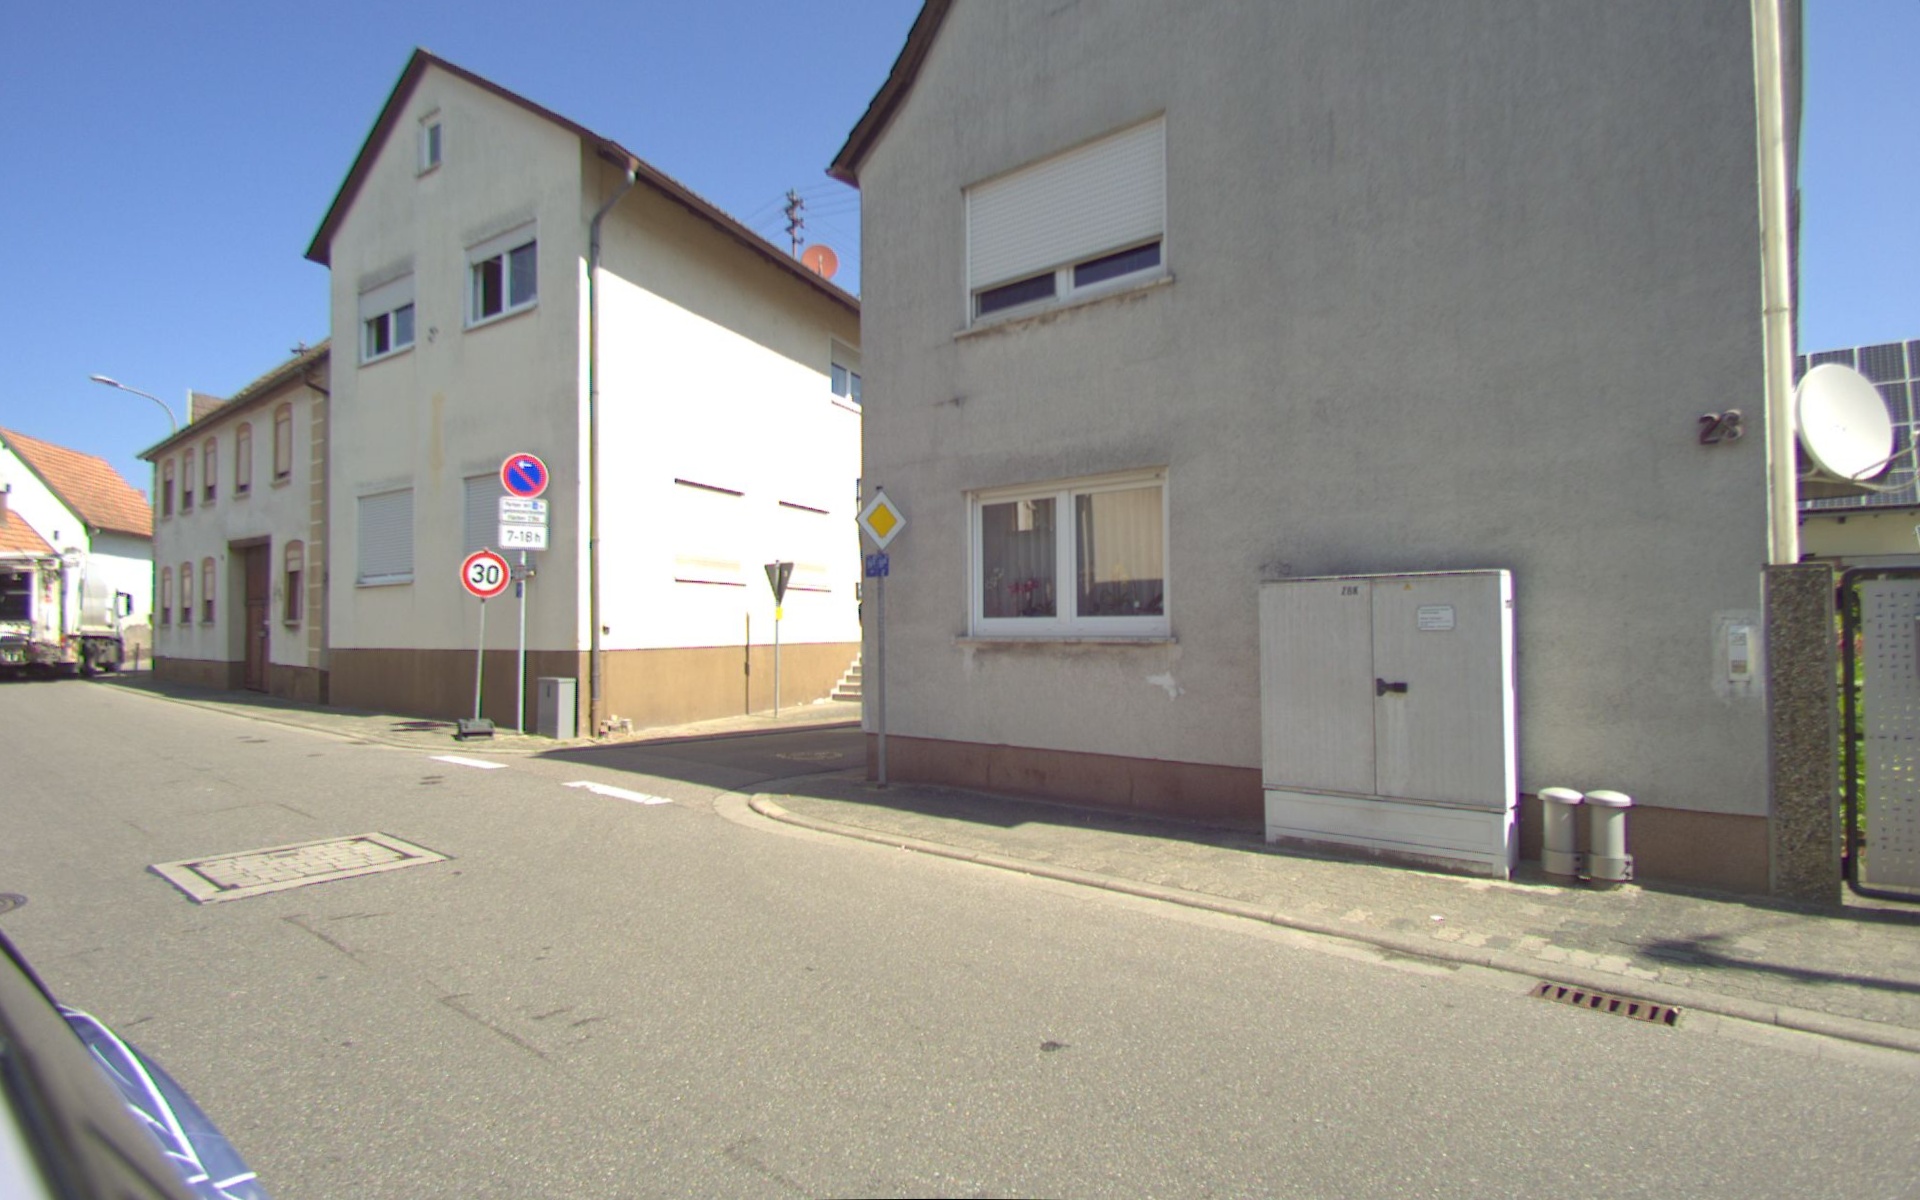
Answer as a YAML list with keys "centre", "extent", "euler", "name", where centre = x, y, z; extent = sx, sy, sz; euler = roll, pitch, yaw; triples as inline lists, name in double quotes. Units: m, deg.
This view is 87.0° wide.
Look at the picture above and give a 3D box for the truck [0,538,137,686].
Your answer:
- centre: [-27.456, 0.436, 30.426]
  extent: [2.658, 3.779, 10.900]
  euler: [1, -2, -31]
  name: "truck"
